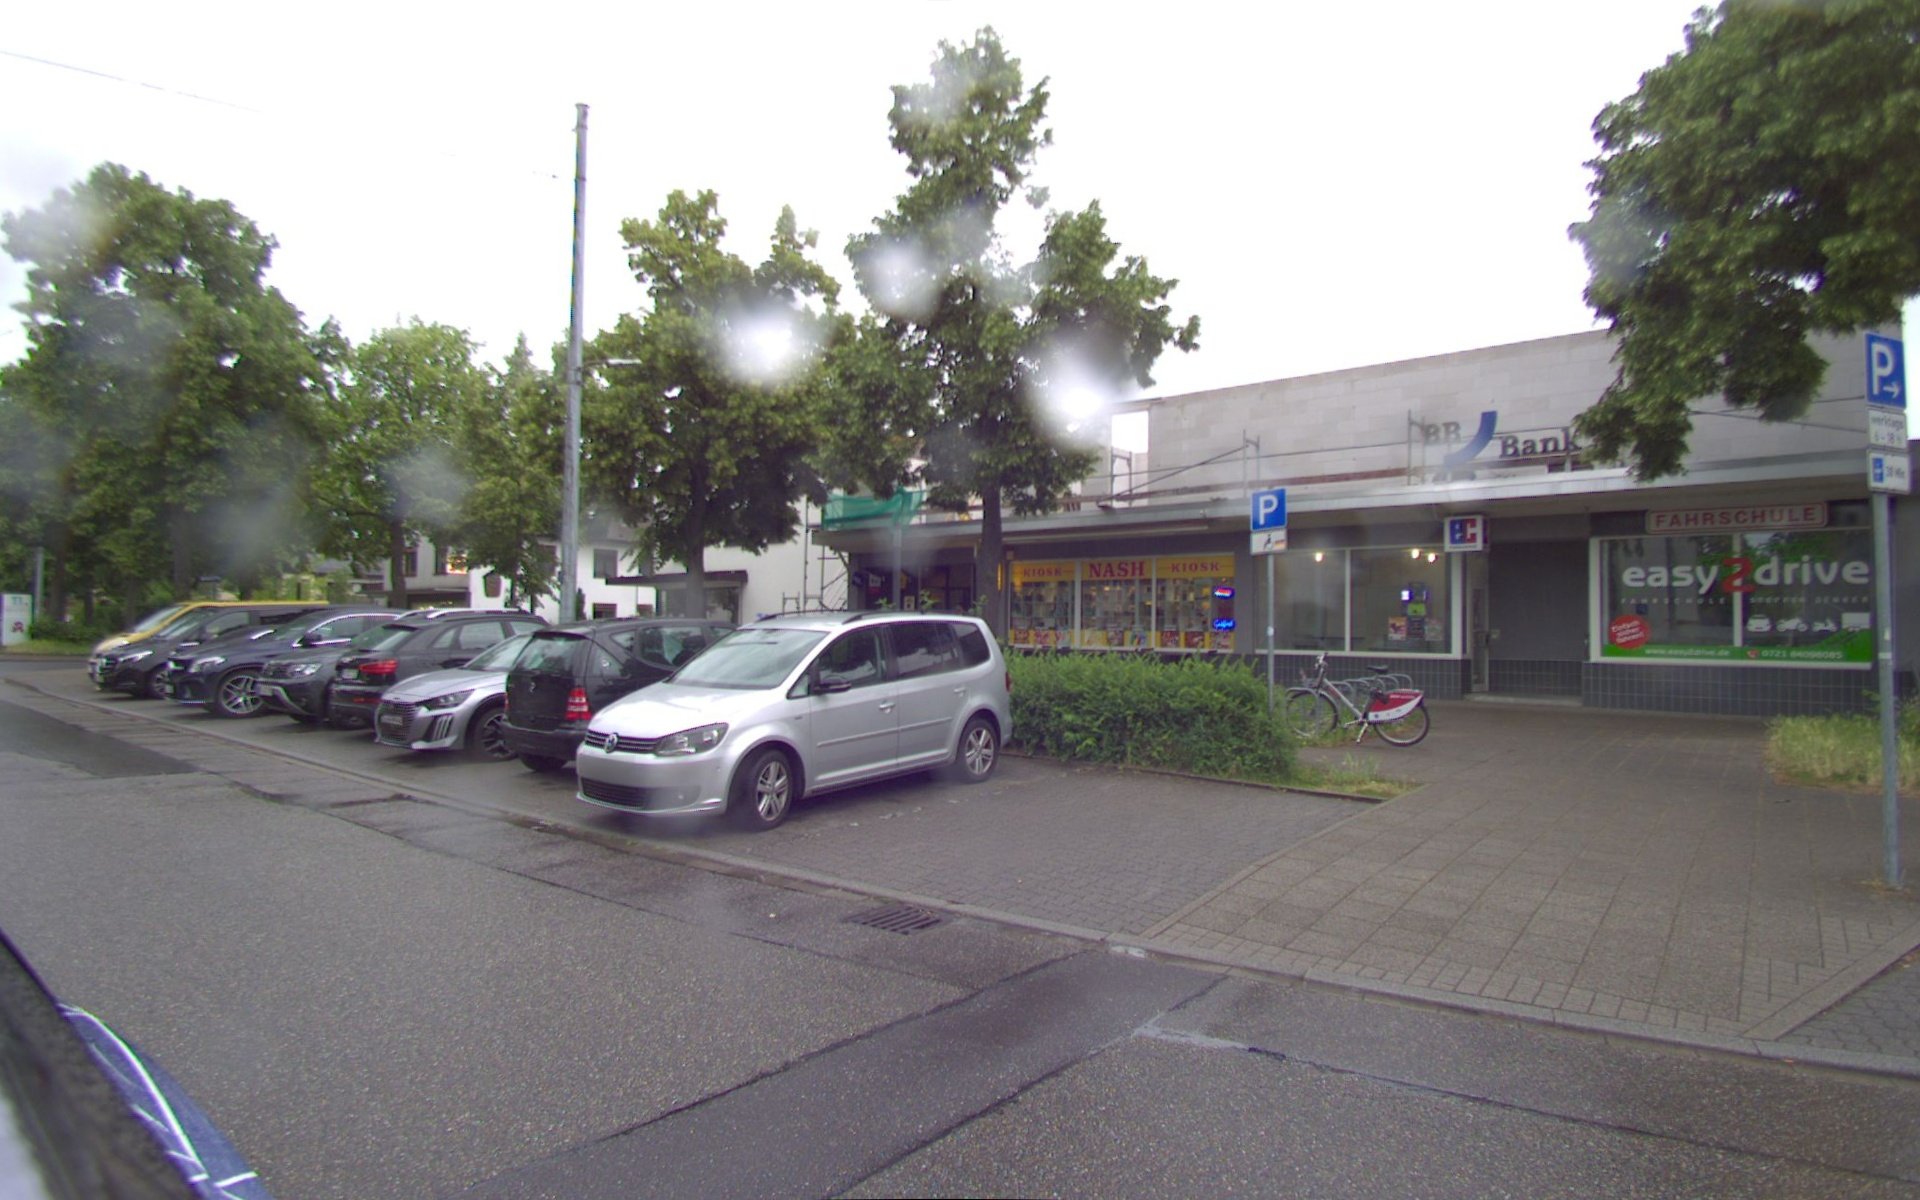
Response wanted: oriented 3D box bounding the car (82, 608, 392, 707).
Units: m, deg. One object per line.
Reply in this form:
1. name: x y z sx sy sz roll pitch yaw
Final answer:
1. car: -15.148 1.101 21.518 1.713 1.813 5.114 -1 0 38

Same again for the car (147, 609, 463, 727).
1. car: -10.999 1.033 17.265 1.713 1.740 4.231 -1 0 38

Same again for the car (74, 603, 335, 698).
1. car: -17.419 1.077 23.561 1.713 1.973 4.600 -1 0 38

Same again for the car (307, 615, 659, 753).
1. car: -6.571 1.040 14.356 1.713 1.607 4.231 -1 0 38

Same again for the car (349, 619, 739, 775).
1. car: -4.957 1.036 12.598 1.713 1.544 4.231 -1 0 38

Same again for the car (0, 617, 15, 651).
1. car: -49.635 1.735 50.069 1.997 1.698 3.950 -1 0 37

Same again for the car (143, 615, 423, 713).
1. car: -13.041 1.136 19.723 1.713 1.639 4.231 -1 0 38

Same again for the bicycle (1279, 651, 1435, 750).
1. bicycle: 4.816 1.199 12.340 1.739 1.115 0.316 -1 0 25

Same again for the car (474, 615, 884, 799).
1. car: -2.862 0.978 11.154 1.633 1.577 4.231 -1 0 38

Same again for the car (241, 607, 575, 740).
1. car: -8.336 0.993 15.632 1.713 1.740 4.231 -1 0 38

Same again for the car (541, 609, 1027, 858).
1. car: -1.293 0.918 9.008 1.713 1.647 4.231 -1 0 38
